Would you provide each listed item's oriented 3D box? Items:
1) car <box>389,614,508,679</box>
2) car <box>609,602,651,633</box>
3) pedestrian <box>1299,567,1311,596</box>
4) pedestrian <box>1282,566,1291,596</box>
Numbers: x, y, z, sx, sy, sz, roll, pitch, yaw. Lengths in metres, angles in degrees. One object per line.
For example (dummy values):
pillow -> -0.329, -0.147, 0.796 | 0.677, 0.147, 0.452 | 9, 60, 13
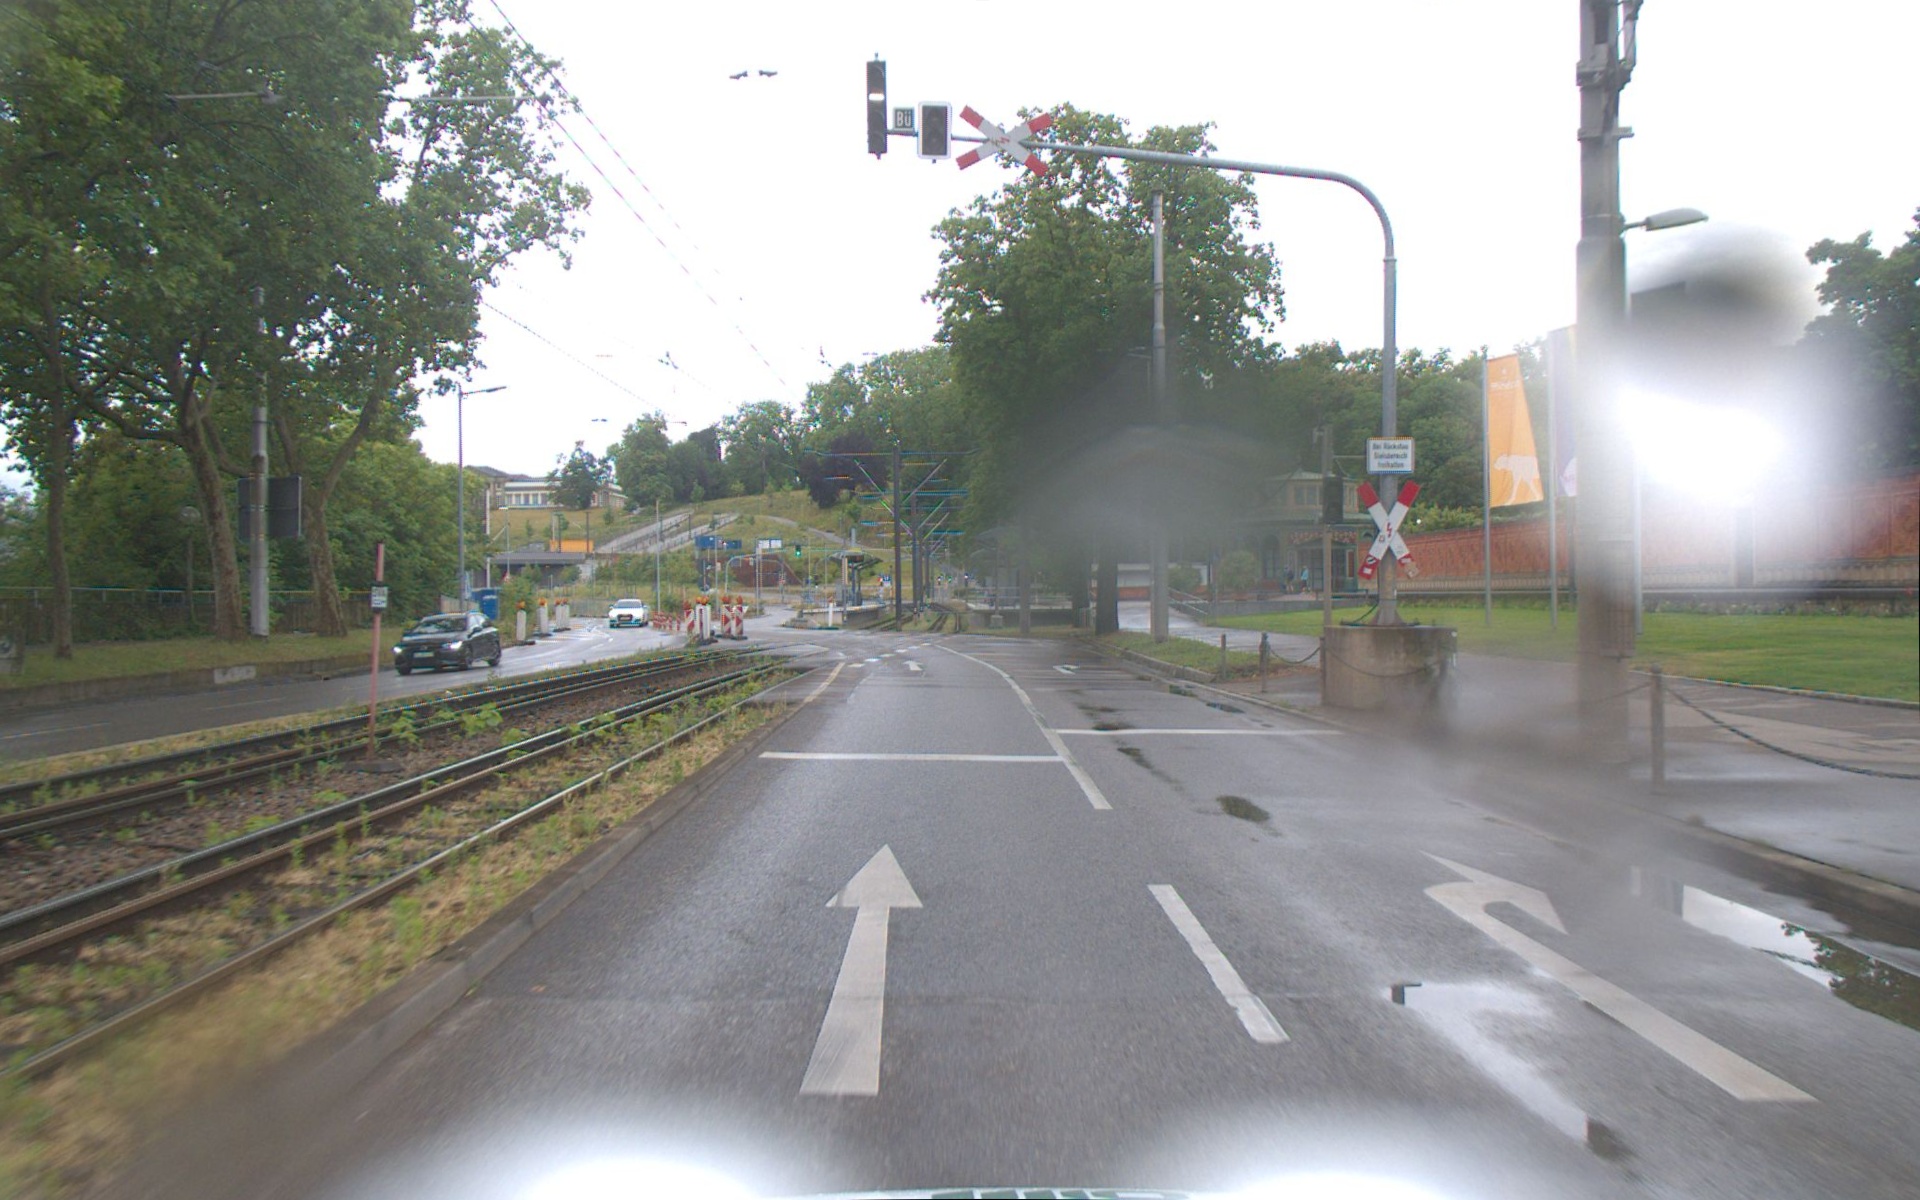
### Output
car -> -13.020, 1.149, 42.376 | 1.711, 1.455, 4.559 | -2, 0, -2
car -> -17.771, 0.914, 89.179 | 1.676, 1.525, 4.714 | -1, 0, -5
pedestrian -> 20.435, -1.098, 97.982 | 0.540, 1.686, 0.468 | -1, -1, 34
pedestrian -> 19.462, -1.122, 98.674 | 0.520, 1.741, 0.696 | 1, -2, 11
